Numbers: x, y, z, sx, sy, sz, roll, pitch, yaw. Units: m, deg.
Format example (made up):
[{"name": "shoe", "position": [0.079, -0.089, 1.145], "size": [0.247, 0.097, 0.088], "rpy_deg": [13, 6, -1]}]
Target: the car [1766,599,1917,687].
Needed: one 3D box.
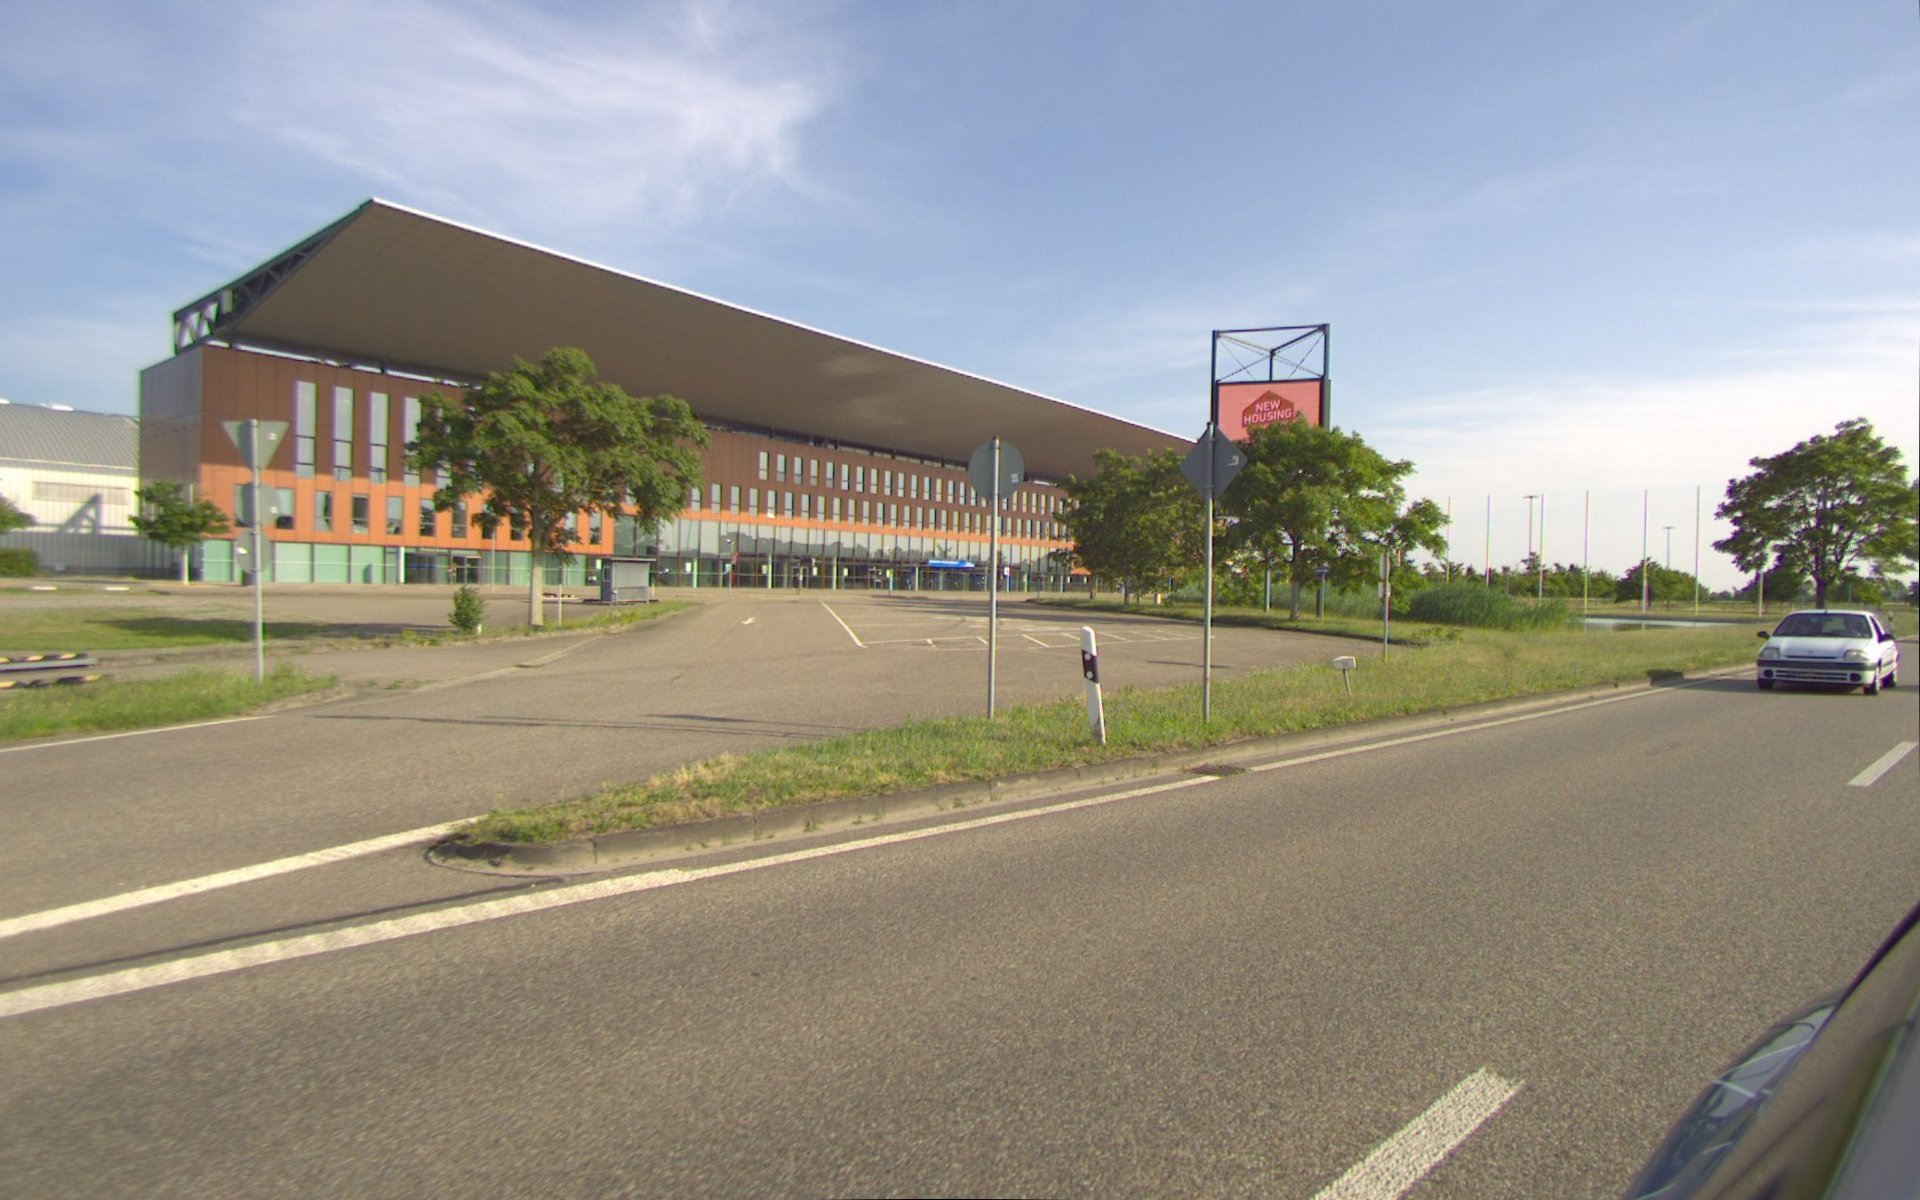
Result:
[{"name": "car", "position": [15.639, 0.695, 17.903], "size": [3.391, 1.396, 1.577], "rpy_deg": [0, 0, -41]}]
